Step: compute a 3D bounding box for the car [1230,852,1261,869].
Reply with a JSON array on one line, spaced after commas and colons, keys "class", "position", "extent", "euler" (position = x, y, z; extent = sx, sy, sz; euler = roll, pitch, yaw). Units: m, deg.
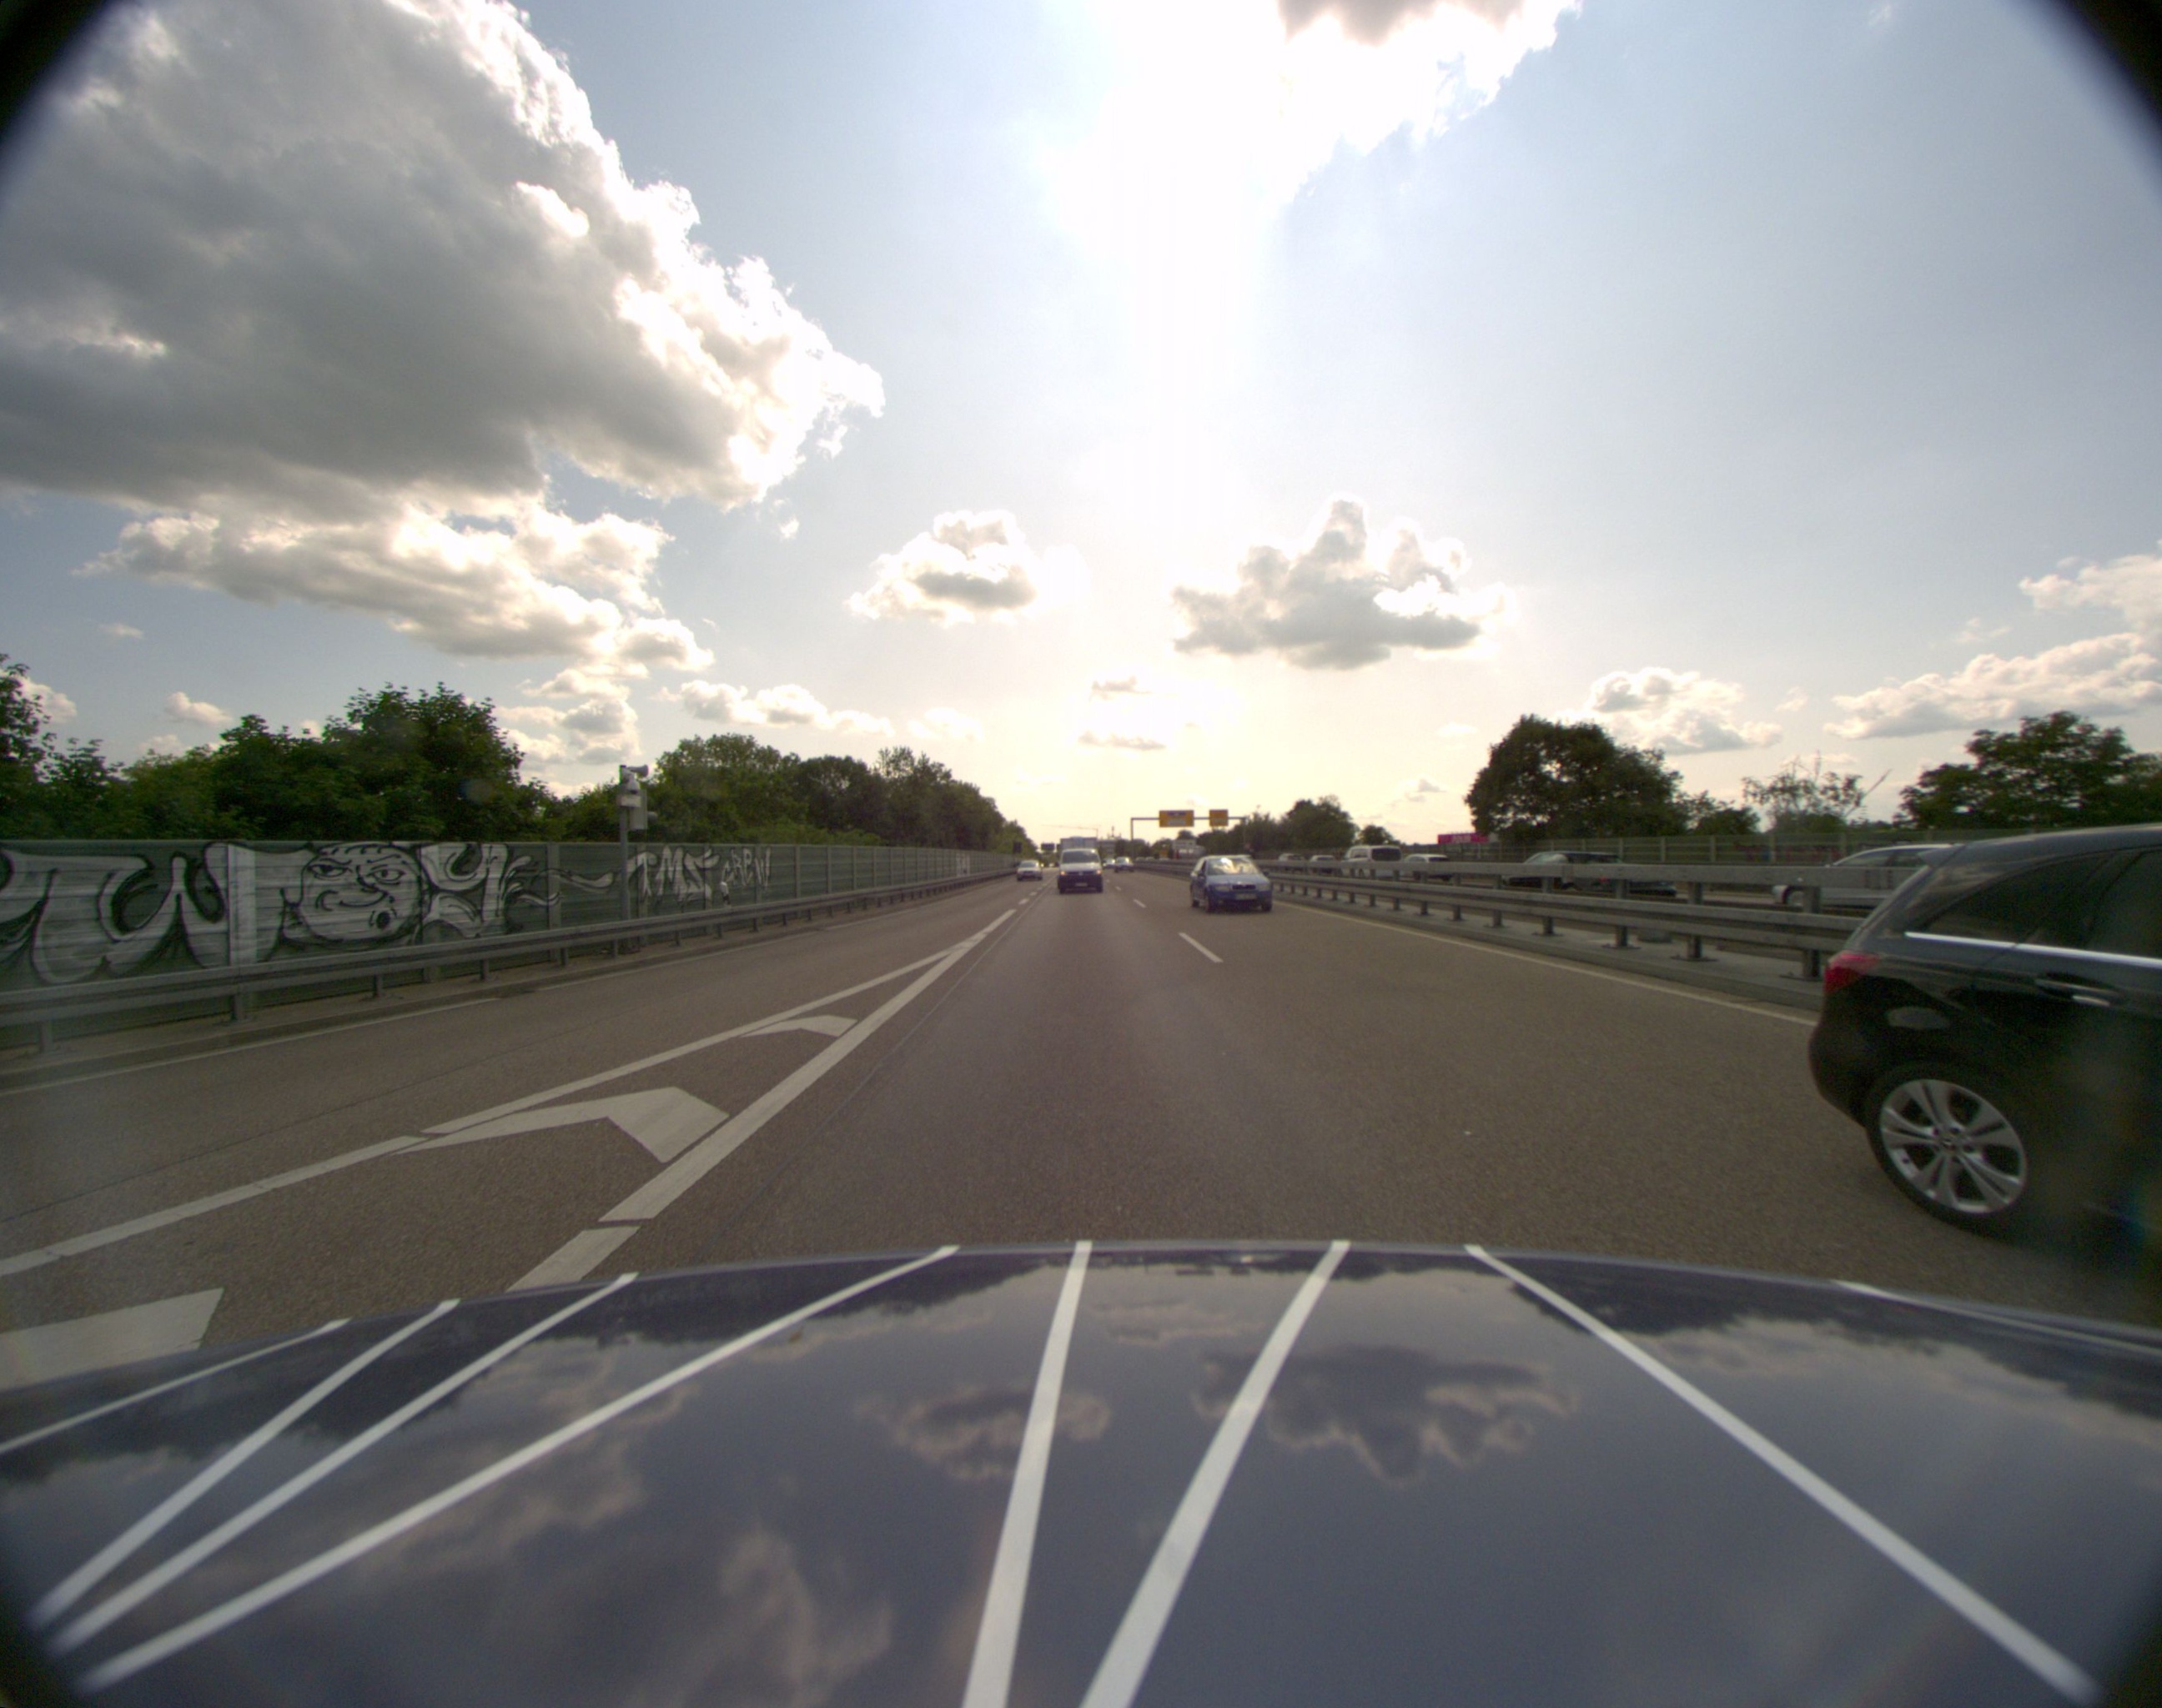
[{"class": "car", "position": [15.689, 0.594, 72.553], "extent": [1.929, 1.565, 3.886], "euler": [-3, 0, -1]}]

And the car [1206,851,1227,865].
[{"class": "car", "position": [16.250, 0.483, 91.138], "extent": [1.719, 1.610, 4.281], "euler": [0, 0, -1]}]

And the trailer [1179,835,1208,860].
[{"class": "trailer", "position": [17.359, -1.028, 117.801], "extent": [2.691, 3.648, 11.027], "euler": [-3, 0, 0]}]

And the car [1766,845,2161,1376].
[{"class": "car", "position": [4.059, 0.771, 1.233], "extent": [1.716, 1.518, 4.592], "euler": [-3, 0, 0]}]

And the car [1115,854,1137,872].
[{"class": "car", "position": [4.385, 0.853, 74.054], "extent": [1.779, 1.518, 4.464], "euler": [-3, 0, 0]}]

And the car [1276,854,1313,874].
[{"class": "car", "position": [18.507, 0.832, 66.029], "extent": [1.929, 1.565, 4.282], "euler": [-2, 0, -2]}]

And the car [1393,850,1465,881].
[{"class": "car", "position": [19.340, 0.599, 42.451], "extent": [1.929, 1.565, 4.282], "euler": [-2, 0, -2]}]

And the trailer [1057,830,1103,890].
[{"class": "trailer", "position": [-0.085, 0.269, 38.584], "extent": [1.999, 2.723, 5.966], "euler": [-3, 0, -1]}]

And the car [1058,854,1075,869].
[{"class": "car", "position": [-1.629, 0.906, 88.253], "extent": [1.802, 1.587, 3.984], "euler": [-3, 0, 1]}]

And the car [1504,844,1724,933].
[{"class": "car", "position": [11.018, 0.625, 16.116], "extent": [1.679, 1.562, 4.060], "euler": [-3, 0, -2]}]

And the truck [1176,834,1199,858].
[{"class": "truck", "position": [17.357, -1.324, 123.850], "extent": [2.655, 3.760, 6.232], "euler": [-3, 1, 0]}]

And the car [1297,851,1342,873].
[{"class": "car", "position": [17.598, 0.551, 56.174], "extent": [1.929, 1.565, 4.244], "euler": [0, 0, -1]}]

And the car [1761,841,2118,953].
[{"class": "car", "position": [15.651, 0.720, 14.302], "extent": [1.586, 1.701, 4.410], "euler": [-3, -1, -2]}]

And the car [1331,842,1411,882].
[{"class": "car", "position": [15.283, 0.431, 40.360], "extent": [1.965, 1.914, 5.191], "euler": [-3, 0, -3]}]

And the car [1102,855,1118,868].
[{"class": "car", "position": [3.750, 0.936, 98.913], "extent": [1.895, 1.518, 4.464], "euler": [-3, 0, 0]}]

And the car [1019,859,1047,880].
[{"class": "car", "position": [-3.509, 1.110, 56.238], "extent": [1.768, 1.403, 3.771], "euler": [-3, 0, 0]}]

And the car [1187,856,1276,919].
[{"class": "car", "position": [3.878, 0.823, 20.132], "extent": [1.625, 1.403, 3.771], "euler": [-3, 0, 1]}]

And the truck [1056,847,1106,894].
[{"class": "truck", "position": [-0.019, 0.697, 33.621], "extent": [2.008, 1.905, 4.000], "euler": [-2, 0, 0]}]
